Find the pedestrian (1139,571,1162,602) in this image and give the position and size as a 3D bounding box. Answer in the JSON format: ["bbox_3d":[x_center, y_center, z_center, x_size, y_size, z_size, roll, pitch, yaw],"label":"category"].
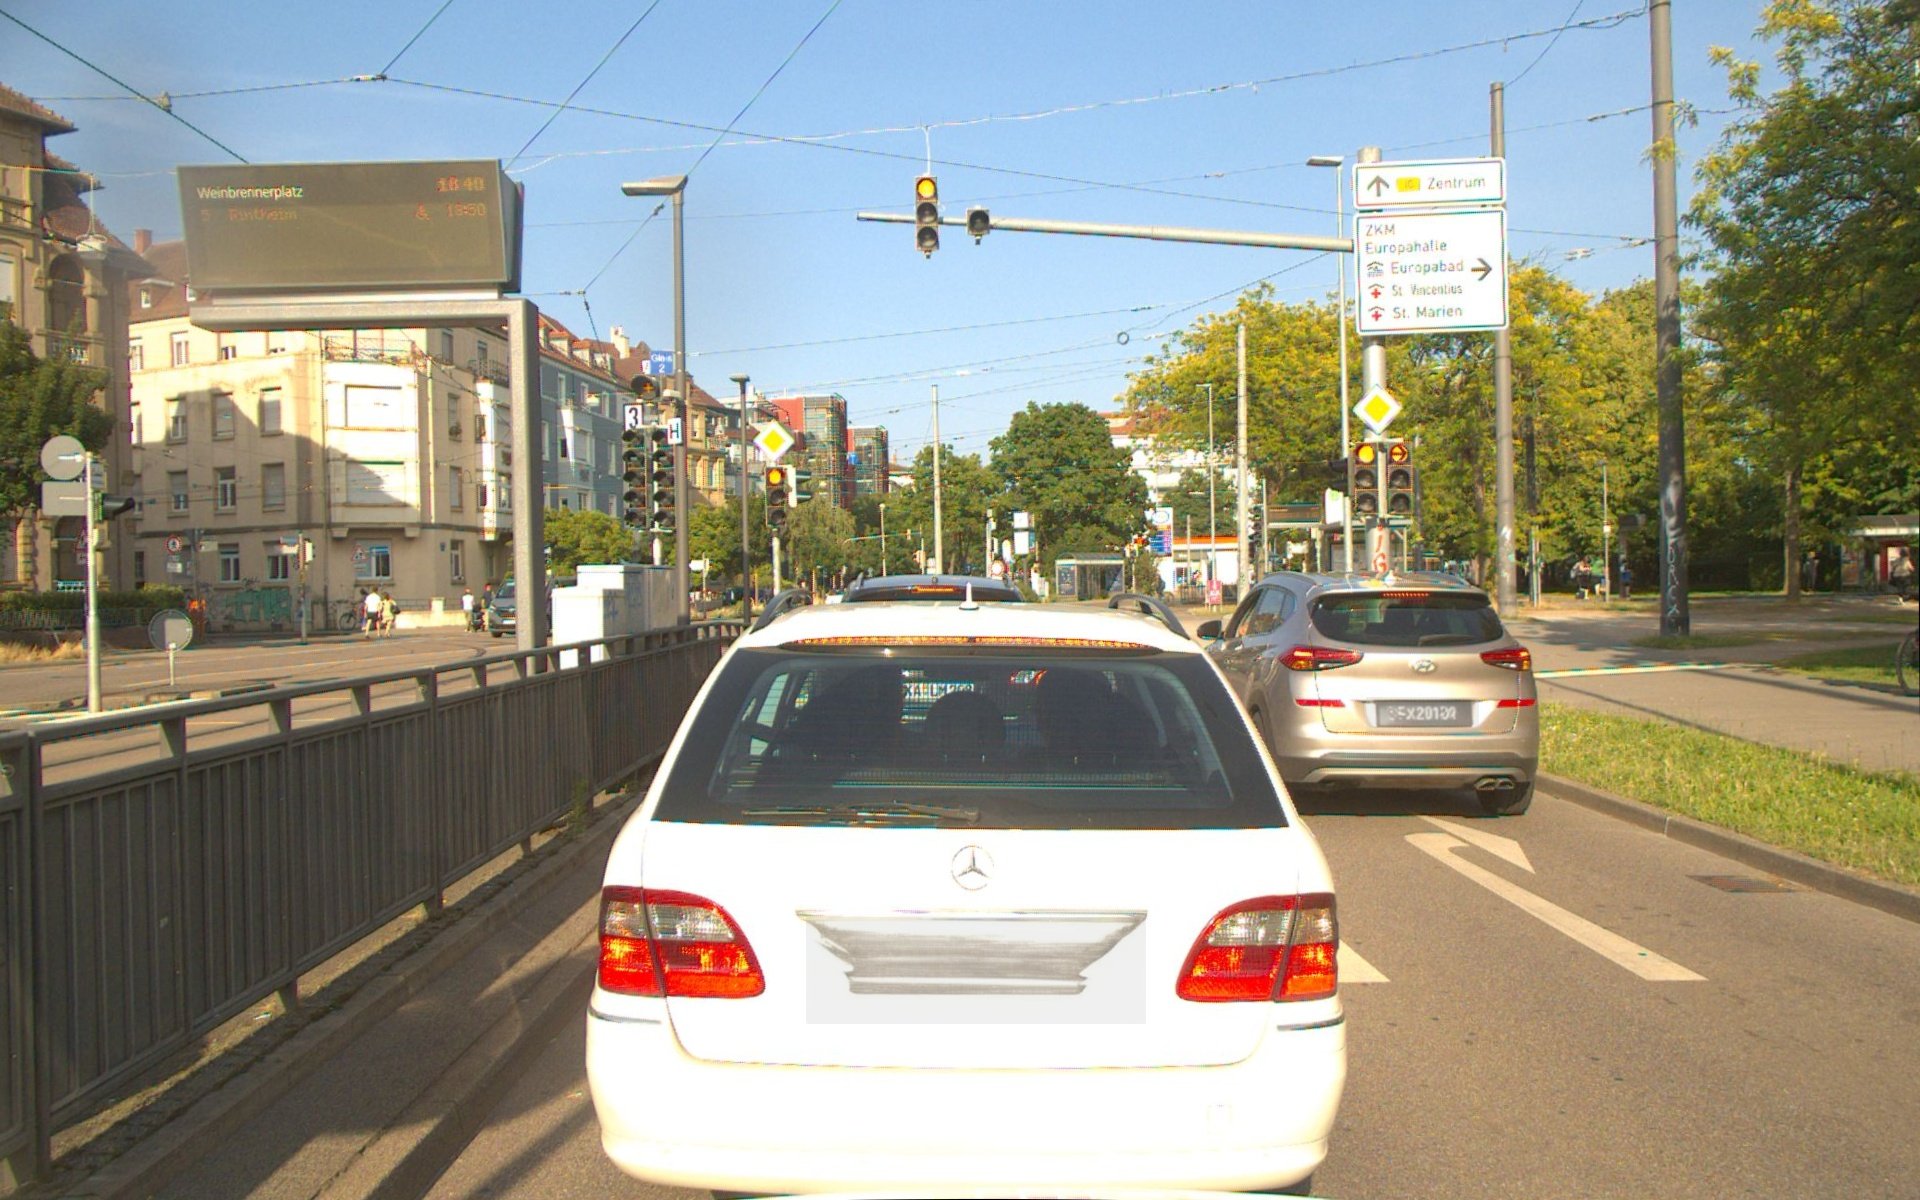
[{"bbox_3d":[9.991,-0.724,86.807,0.985,1.619,0.866,-1,0,18],"label":"pedestrian"}]

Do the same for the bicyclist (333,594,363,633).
[{"bbox_3d":[-25.770,0.555,69.686,1.020,1.597,0.661,-1,0,-6],"label":"bicyclist"}]

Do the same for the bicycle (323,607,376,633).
[{"bbox_3d":[-25.724,0.854,69.695,1.952,1.024,0.742,-2,0,-6],"label":"bicycle"}]

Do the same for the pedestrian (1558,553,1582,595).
[{"bbox_3d":[23.958,-1.026,64.954,0.628,1.638,0.690,-1,0,-1],"label":"pedestrian"}]

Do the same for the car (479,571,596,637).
[{"bbox_3d":[-14.099,0.106,55.591,2.100,2.049,5.390,-1,0,5],"label":"car"}]

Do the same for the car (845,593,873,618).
[{"bbox_3d":[-6.979,0.358,114.273,1.642,1.552,4.125,-1,2,0],"label":"car"}]

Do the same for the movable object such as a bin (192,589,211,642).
[{"bbox_3d":[-25.530,0.511,55.645,0.261,1.739,2.357,-2,1,-31],"label":"movable object such as a bin"}]

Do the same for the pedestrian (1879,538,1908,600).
[{"bbox_3d":[28.866,-0.944,51.152,0.454,1.900,0.601,1,-1,-25],"label":"pedestrian"}]

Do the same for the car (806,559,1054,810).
[{"bbox_3d":[-0.222,0.533,12.656,1.608,1.628,3.814,0,0,-1],"label":"car"}]

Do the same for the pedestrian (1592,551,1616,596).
[{"bbox_3d":[24.512,-1.021,62.941,0.628,1.694,0.690,-1,0,-1],"label":"pedestrian"}]

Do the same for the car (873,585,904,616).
[{"bbox_3d":[-5.618,0.022,130.584,2.132,2.278,5.253,-1,1,0],"label":"car"}]

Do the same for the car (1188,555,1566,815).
[{"bbox_3d":[2.885,0.518,12.291,1.798,1.628,3.814,0,0,-1],"label":"car"}]

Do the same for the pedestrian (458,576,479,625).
[{"bbox_3d":[-19.461,0.003,65.503,0.572,1.913,0.627,-1,0,3],"label":"pedestrian"}]

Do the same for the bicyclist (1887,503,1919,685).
[{"bbox_3d":[9.680,-0.080,16.001,0.705,1.776,1.140,-4,0,3],"label":"bicyclist"}]

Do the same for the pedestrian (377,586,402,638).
[{"bbox_3d":[-20.962,0.427,60.796,0.661,1.880,0.649,-1,0,-3],"label":"pedestrian"}]

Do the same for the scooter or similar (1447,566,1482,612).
[{"bbox_3d":[13.927,-0.305,45.668,0.345,1.253,1.131,-1,0,-15],"label":"scooter or similar"}]

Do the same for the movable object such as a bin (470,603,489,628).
[{"bbox_3d":[-19.298,0.618,66.466,0.571,0.963,0.663,-1,0,-2],"label":"movable object such as a bin"}]

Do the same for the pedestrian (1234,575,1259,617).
[{"bbox_3d":[14.090,-0.204,81.329,0.976,2.049,0.827,-1,0,27],"label":"pedestrian"}]

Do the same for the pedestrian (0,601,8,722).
[{"bbox_3d":[-13.216,0.839,22.080,0.578,1.617,0.715,-1,0,-5],"label":"pedestrian"}]

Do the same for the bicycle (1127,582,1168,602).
[{"bbox_3d":[9.864,-0.414,86.855,1.975,0.963,0.880,-1,0,19],"label":"bicycle"}]

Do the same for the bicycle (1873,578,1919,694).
[{"bbox_3d":[9.692,0.347,16.137,0.627,1.107,1.734,-4,0,3],"label":"bicycle"}]

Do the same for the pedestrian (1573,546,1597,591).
[{"bbox_3d":[24.241,-1.220,64.110,0.628,1.694,0.690,-1,0,-1],"label":"pedestrian"}]

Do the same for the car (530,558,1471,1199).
[{"bbox_3d":[0.055,0.672,5.074,1.798,1.527,3.814,0,0,-1],"label":"car"}]

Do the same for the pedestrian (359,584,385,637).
[{"bbox_3d":[-21.669,0.396,60.966,0.644,1.913,0.627,-1,0,14],"label":"pedestrian"}]

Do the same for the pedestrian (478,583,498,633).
[{"bbox_3d":[-18.758,0.306,65.676,0.573,1.913,0.626,-1,3,-3],"label":"pedestrian"}]
